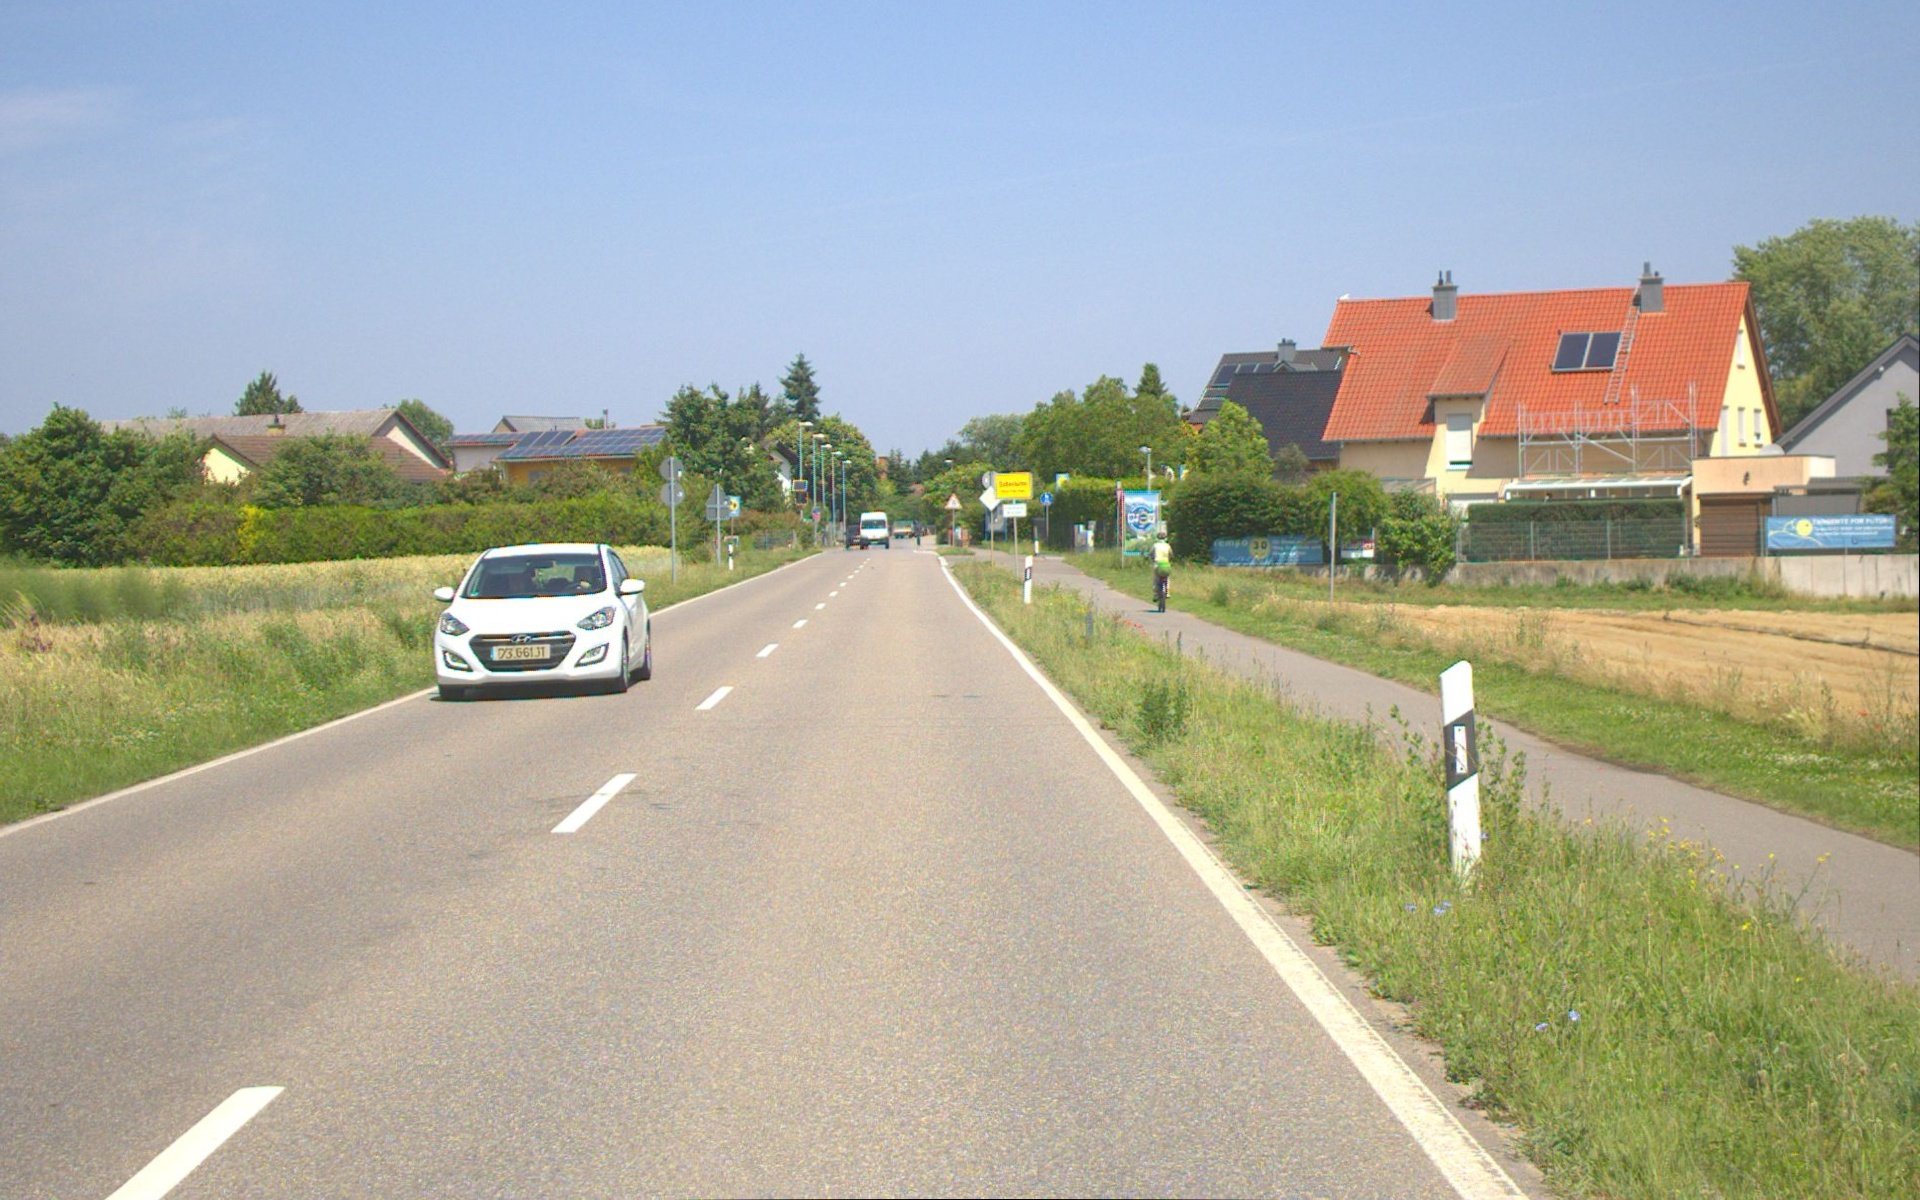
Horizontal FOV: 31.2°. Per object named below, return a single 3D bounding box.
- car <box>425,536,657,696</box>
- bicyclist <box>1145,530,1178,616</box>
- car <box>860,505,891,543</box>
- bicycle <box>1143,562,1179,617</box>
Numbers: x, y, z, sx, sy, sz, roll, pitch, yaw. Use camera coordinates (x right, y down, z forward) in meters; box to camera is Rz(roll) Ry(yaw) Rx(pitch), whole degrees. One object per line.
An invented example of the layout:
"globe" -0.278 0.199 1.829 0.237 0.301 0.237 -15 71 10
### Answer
"car" -4.053 0.109 33.820 1.791 1.404 4.186 -2 1 -1
"bicyclist" 4.495 -0.610 76.786 0.645 1.883 0.861 1 2 -1
"car" -5.846 -5.310 238.698 2.077 2.533 5.874 -2 2 -1
"bicycle" 4.482 -0.247 76.907 0.610 1.154 2.274 1 2 -1
